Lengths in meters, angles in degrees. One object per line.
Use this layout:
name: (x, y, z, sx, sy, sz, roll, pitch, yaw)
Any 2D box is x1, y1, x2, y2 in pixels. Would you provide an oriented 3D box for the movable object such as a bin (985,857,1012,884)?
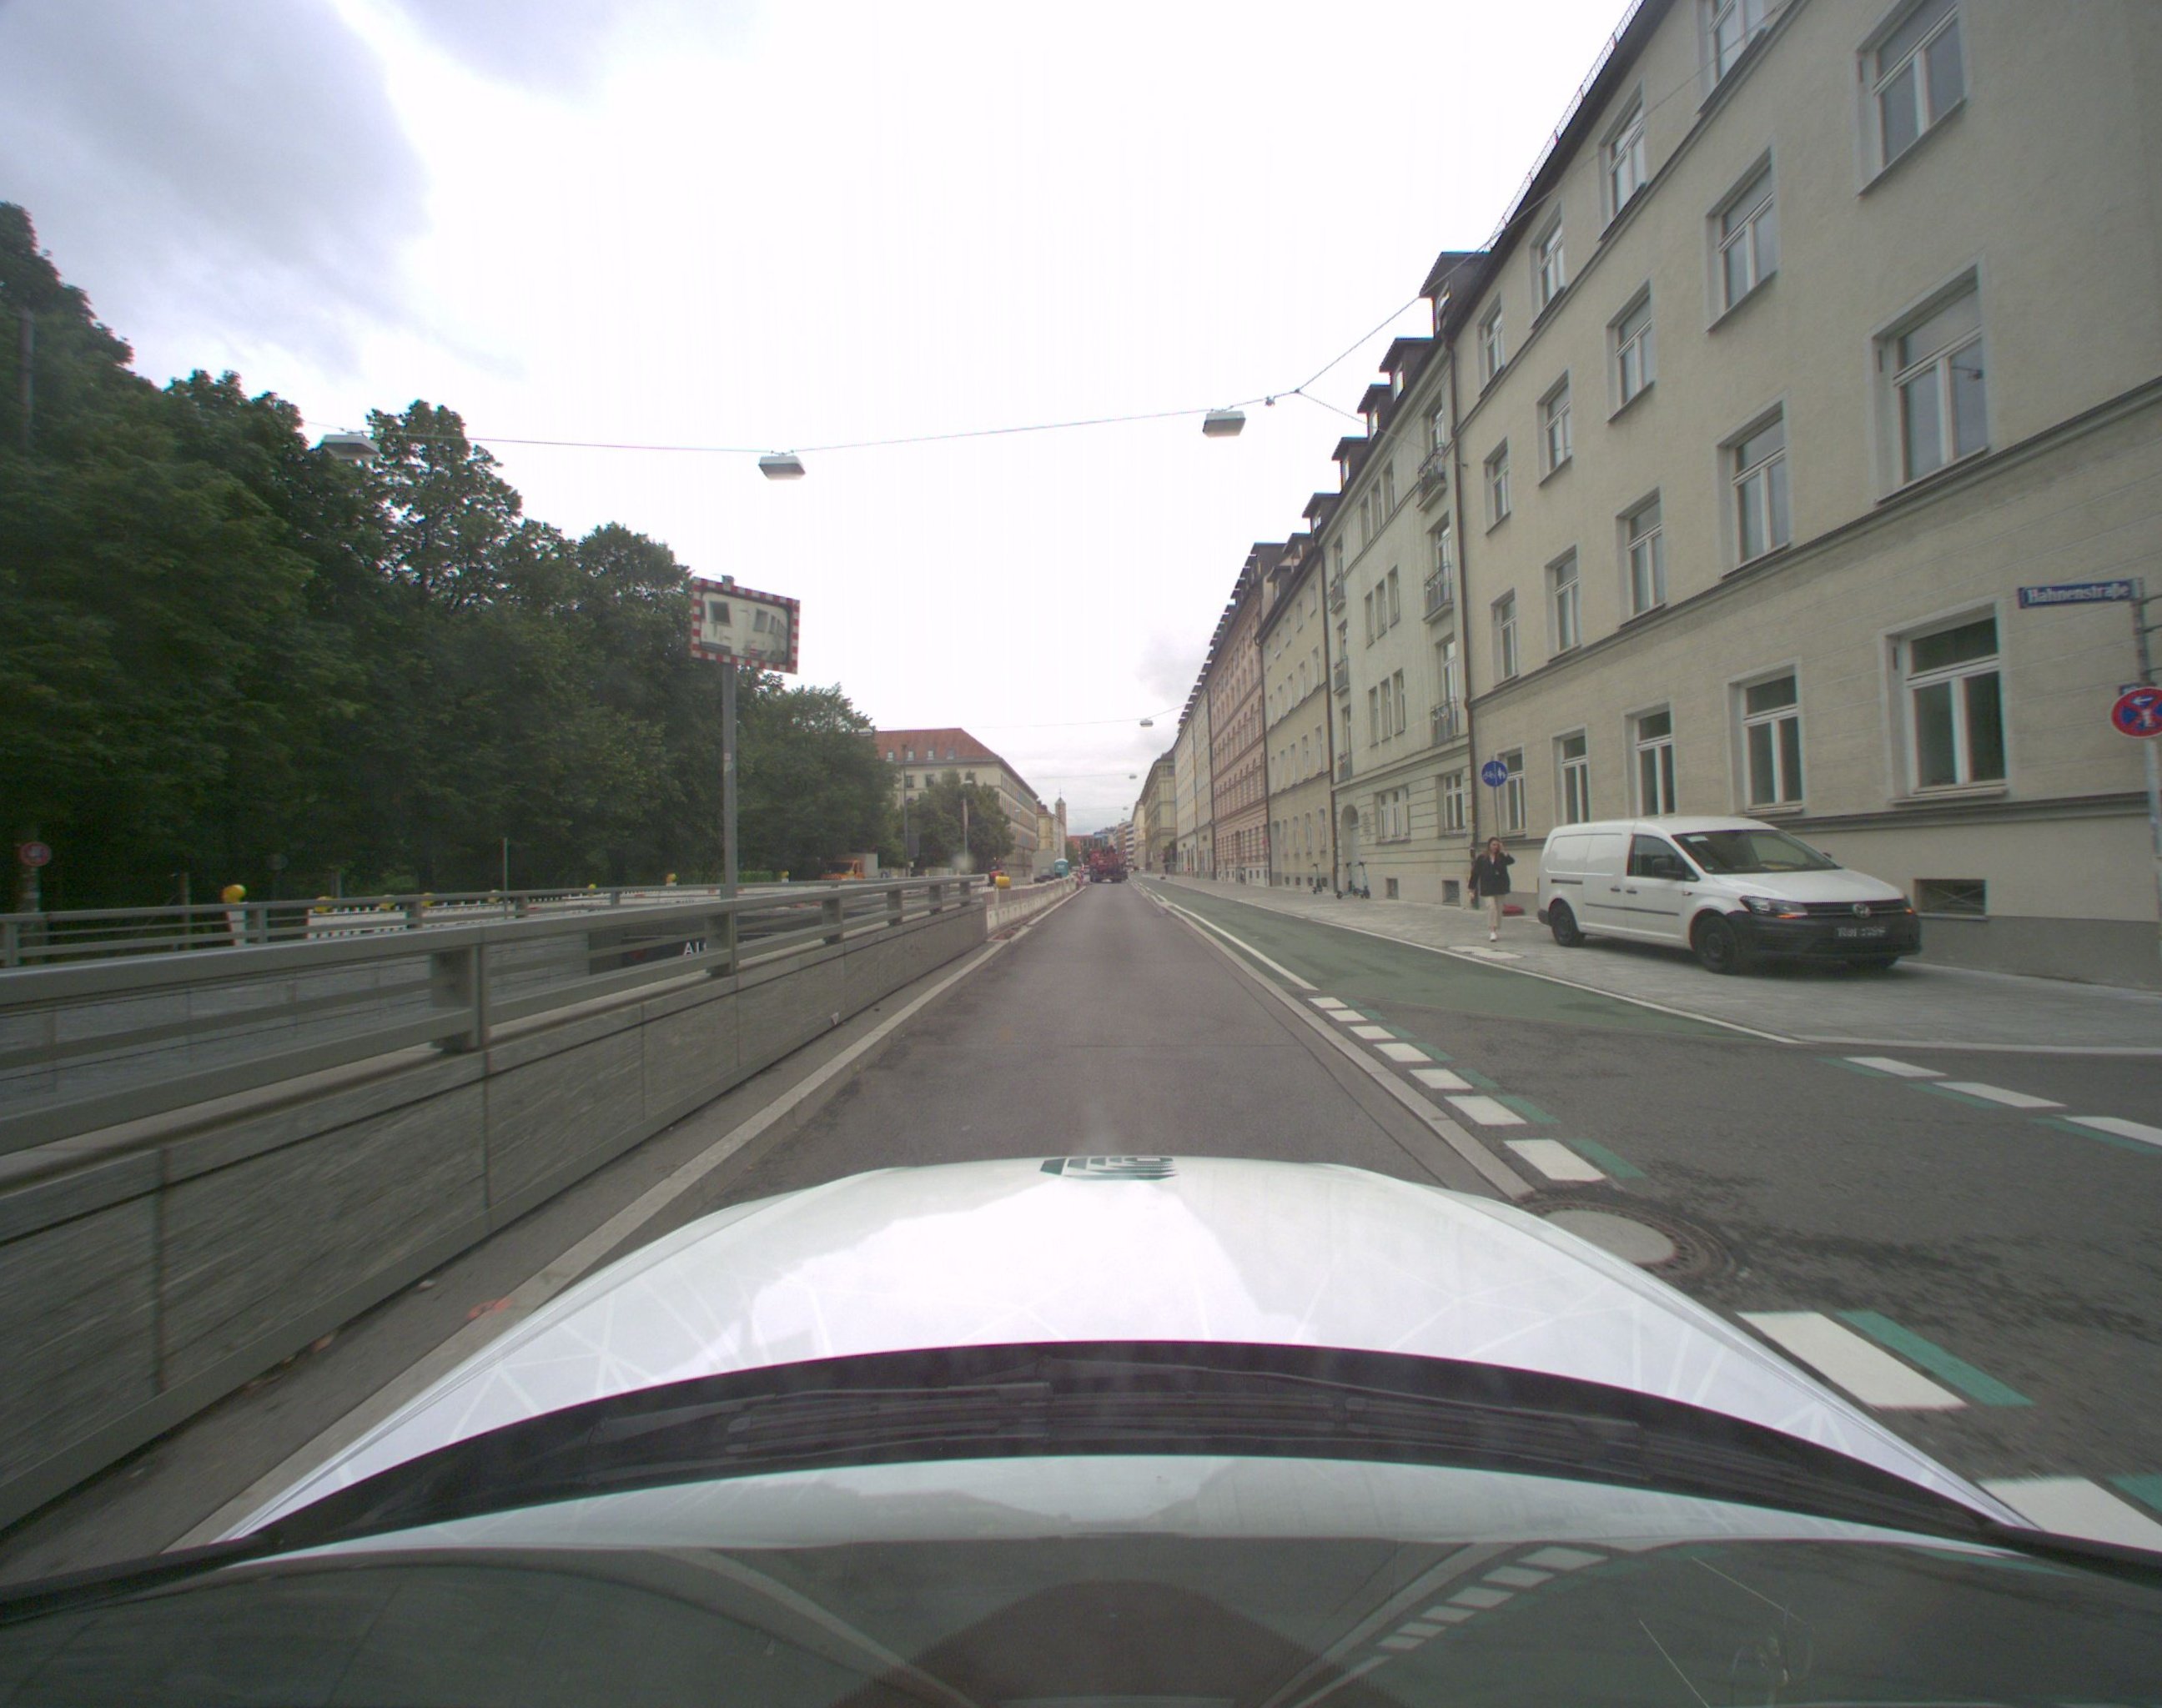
movable object such as a bin: (-8.027, 1.577, 79.777, 1.916, 2.572, 4.496, -1, -1, 3)

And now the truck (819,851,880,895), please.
truck: (-15.122, 1.212, 53.547, 1.985, 2.728, 5.874, -1, -1, 3)

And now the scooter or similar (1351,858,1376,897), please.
scooter or similar: (9.498, 0.800, 27.420, 0.385, 1.272, 1.120, -4, -2, 1)

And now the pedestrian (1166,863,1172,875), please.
pedestrian: (13.220, 2.261, 122.955, 0.787, 1.836, 0.777, -2, -1, 3)

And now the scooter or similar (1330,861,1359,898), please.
scooter or similar: (9.186, 0.884, 28.381, 1.123, 1.231, 0.245, -2, -2, -32)

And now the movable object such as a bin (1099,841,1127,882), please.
movable object such as a bin: (2.904, 0.739, 75.517, 2.415, 3.612, 5.851, -1, -1, 1)

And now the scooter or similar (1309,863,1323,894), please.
scooter or similar: (9.592, 0.991, 33.194, 0.244, 1.231, 1.126, -4, -2, 27)

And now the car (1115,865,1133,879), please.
car: (4.800, 1.992, 91.138, 1.795, 1.480, 4.687, -2, -1, 1)

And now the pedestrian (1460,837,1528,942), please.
pedestrian: (6.714, 0.564, 13.261, 0.662, 1.636, 0.737, -3, -1, 1)

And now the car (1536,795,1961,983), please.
car: (7.734, 0.363, 10.154, 1.726, 1.750, 4.437, -3, -1, 2)

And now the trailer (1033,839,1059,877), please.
trailer: (-3.199, 0.416, 74.159, 2.221, 3.244, 7.510, -2, -1, -3)

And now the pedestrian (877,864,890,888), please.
pedestrian: (-13.558, 1.482, 55.870, 0.660, 1.603, 0.698, -1, -1, 3)

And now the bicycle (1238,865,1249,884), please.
bicycle: (10.346, 1.279, 51.790, 0.422, 1.174, 1.740, -3, -1, 19)
